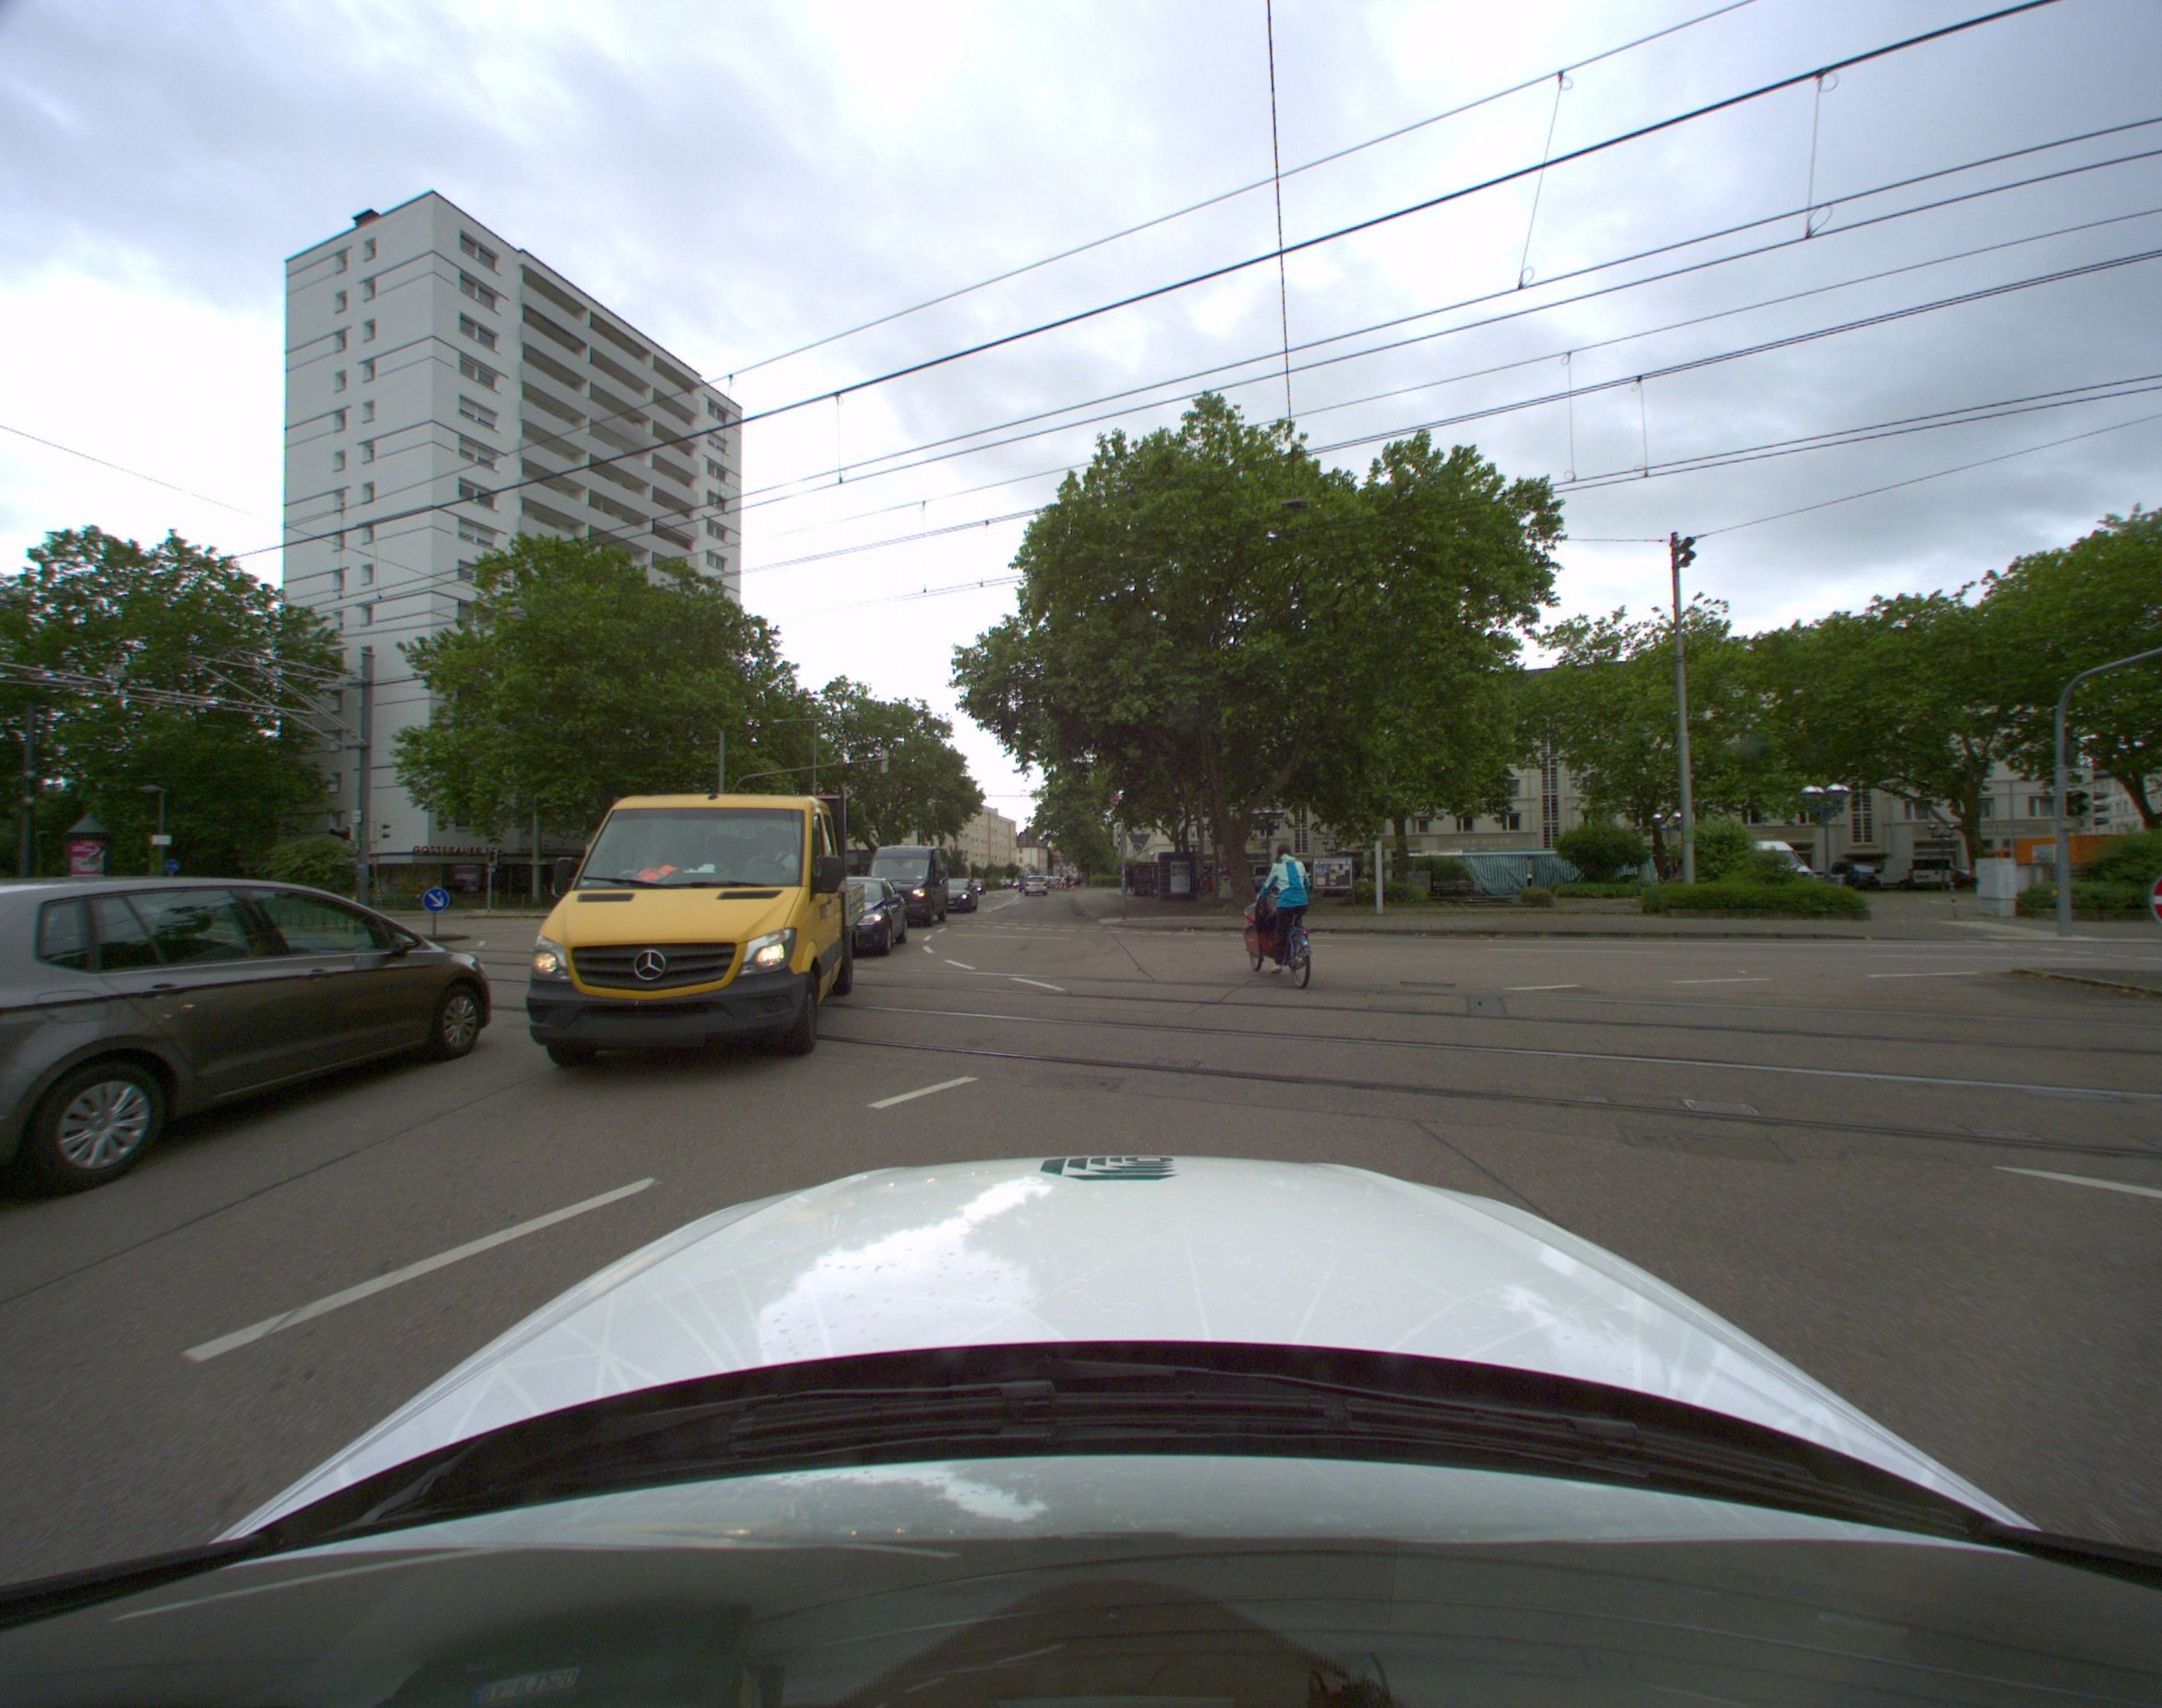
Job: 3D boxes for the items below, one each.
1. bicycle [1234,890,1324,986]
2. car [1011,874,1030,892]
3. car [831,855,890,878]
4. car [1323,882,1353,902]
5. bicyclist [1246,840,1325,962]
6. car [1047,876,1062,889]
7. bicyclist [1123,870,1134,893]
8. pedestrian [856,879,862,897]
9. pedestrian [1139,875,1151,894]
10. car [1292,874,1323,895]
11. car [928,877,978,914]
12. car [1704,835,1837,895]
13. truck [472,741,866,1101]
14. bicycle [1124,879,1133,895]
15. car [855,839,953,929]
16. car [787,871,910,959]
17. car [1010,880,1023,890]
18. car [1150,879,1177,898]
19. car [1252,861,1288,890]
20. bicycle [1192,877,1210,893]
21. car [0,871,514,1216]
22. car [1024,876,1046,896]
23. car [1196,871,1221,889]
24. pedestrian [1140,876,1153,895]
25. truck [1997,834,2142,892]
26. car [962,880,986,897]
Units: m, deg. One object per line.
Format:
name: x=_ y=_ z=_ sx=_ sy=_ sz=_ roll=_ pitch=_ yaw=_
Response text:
bicycle: x=2.575 y=1.052 z=10.827 sx=0.493 sy=1.098 sz=2.134 roll=-1 pitch=-1 yaw=-5
car: x=-6.450 y=3.107 z=87.239 sx=1.989 sy=1.848 sz=3.994 roll=-1 pitch=-1 yaw=-4
car: x=-16.714 y=0.972 z=61.748 sx=4.013 sy=1.706 sz=1.980 roll=1 pitch=-2 yaw=-31
car: x=20.098 y=2.971 z=63.577 sx=1.780 sy=1.441 sz=3.848 roll=-2 pitch=-2 yaw=23
bicyclist: x=2.665 y=0.595 z=10.727 sx=0.684 sy=1.518 sz=1.056 roll=-1 pitch=-1 yaw=-5
car: x=-3.486 y=3.755 z=107.049 sx=1.811 sy=1.592 sz=3.996 roll=-1 pitch=-1 yaw=-2
bicyclist: x=3.729 y=2.153 z=64.099 sx=0.759 sy=1.759 sz=0.818 roll=-1 pitch=-2 yaw=-6
pedestrian: x=-21.145 y=3.208 z=77.534 sx=0.517 sy=1.681 sz=0.508 roll=0 pitch=-2 yaw=-20
pedestrian: x=4.738 y=2.282 z=60.350 sx=0.815 sy=1.372 sz=0.762 roll=-1 pitch=-2 yaw=-2
car: x=17.571 y=2.356 z=63.058 sx=1.780 sy=1.544 sz=3.848 roll=-2 pitch=-2 yaw=23
car: x=-5.477 y=1.752 z=35.284 sx=1.805 sy=1.427 sz=4.310 roll=-1 pitch=-1 yaw=-4
car: x=32.785 y=0.559 z=39.002 sx=2.223 sy=2.639 sz=5.458 roll=-1 pitch=-1 yaw=7
truck: x=-3.536 y=0.483 z=8.346 sx=2.075 sy=2.408 sz=5.442 roll=-1 pitch=-1 yaw=-10
bicycle: x=3.712 y=2.556 z=63.830 sx=0.417 sy=1.242 sz=1.923 roll=-1 pitch=-2 yaw=-6
car: x=-5.372 y=0.899 z=25.434 sx=2.129 sy=2.451 sz=5.571 roll=-1 pitch=-1 yaw=-4
car: x=-4.434 y=1.095 z=16.050 sx=1.664 sy=1.489 sz=3.895 roll=-1 pitch=-1 yaw=-6
car: x=-9.702 y=4.600 z=122.174 sx=1.762 sy=1.486 sz=3.997 roll=-1 pitch=-2 yaw=-2
car: x=6.750 y=2.781 z=66.181 sx=1.503 sy=1.428 sz=4.016 roll=-1 pitch=-2 yaw=16
car: x=14.992 y=1.724 z=64.484 sx=2.155 sy=2.201 sz=4.021 roll=-2 pitch=-2 yaw=22
bicycle: x=9.118 y=2.375 z=61.846 sx=0.771 sy=1.168 sz=2.345 roll=-2 pitch=-2 yaw=23
car: x=-5.776 y=0.888 z=5.204 sx=1.729 sy=1.525 sz=3.993 roll=-1 pitch=-1 yaw=-5
car: x=-3.848 y=2.637 z=68.576 sx=1.811 sy=1.592 sz=3.996 roll=-1 pitch=-1 yaw=-2
car: x=10.414 y=2.105 z=66.503 sx=1.503 sy=1.428 sz=4.016 roll=-1 pitch=-2 yaw=16
pedestrian: x=4.756 y=2.282 z=59.397 sx=0.851 sy=1.315 sz=0.762 roll=-1 pitch=-2 yaw=-2
truck: x=47.283 y=0.445 z=39.115 sx=2.365 sy=2.591 sz=4.011 roll=-1 pitch=-1 yaw=10
car: x=-10.039 y=3.250 z=76.556 sx=1.848 sy=1.453 sz=4.163 roll=-1 pitch=-1 yaw=-2
